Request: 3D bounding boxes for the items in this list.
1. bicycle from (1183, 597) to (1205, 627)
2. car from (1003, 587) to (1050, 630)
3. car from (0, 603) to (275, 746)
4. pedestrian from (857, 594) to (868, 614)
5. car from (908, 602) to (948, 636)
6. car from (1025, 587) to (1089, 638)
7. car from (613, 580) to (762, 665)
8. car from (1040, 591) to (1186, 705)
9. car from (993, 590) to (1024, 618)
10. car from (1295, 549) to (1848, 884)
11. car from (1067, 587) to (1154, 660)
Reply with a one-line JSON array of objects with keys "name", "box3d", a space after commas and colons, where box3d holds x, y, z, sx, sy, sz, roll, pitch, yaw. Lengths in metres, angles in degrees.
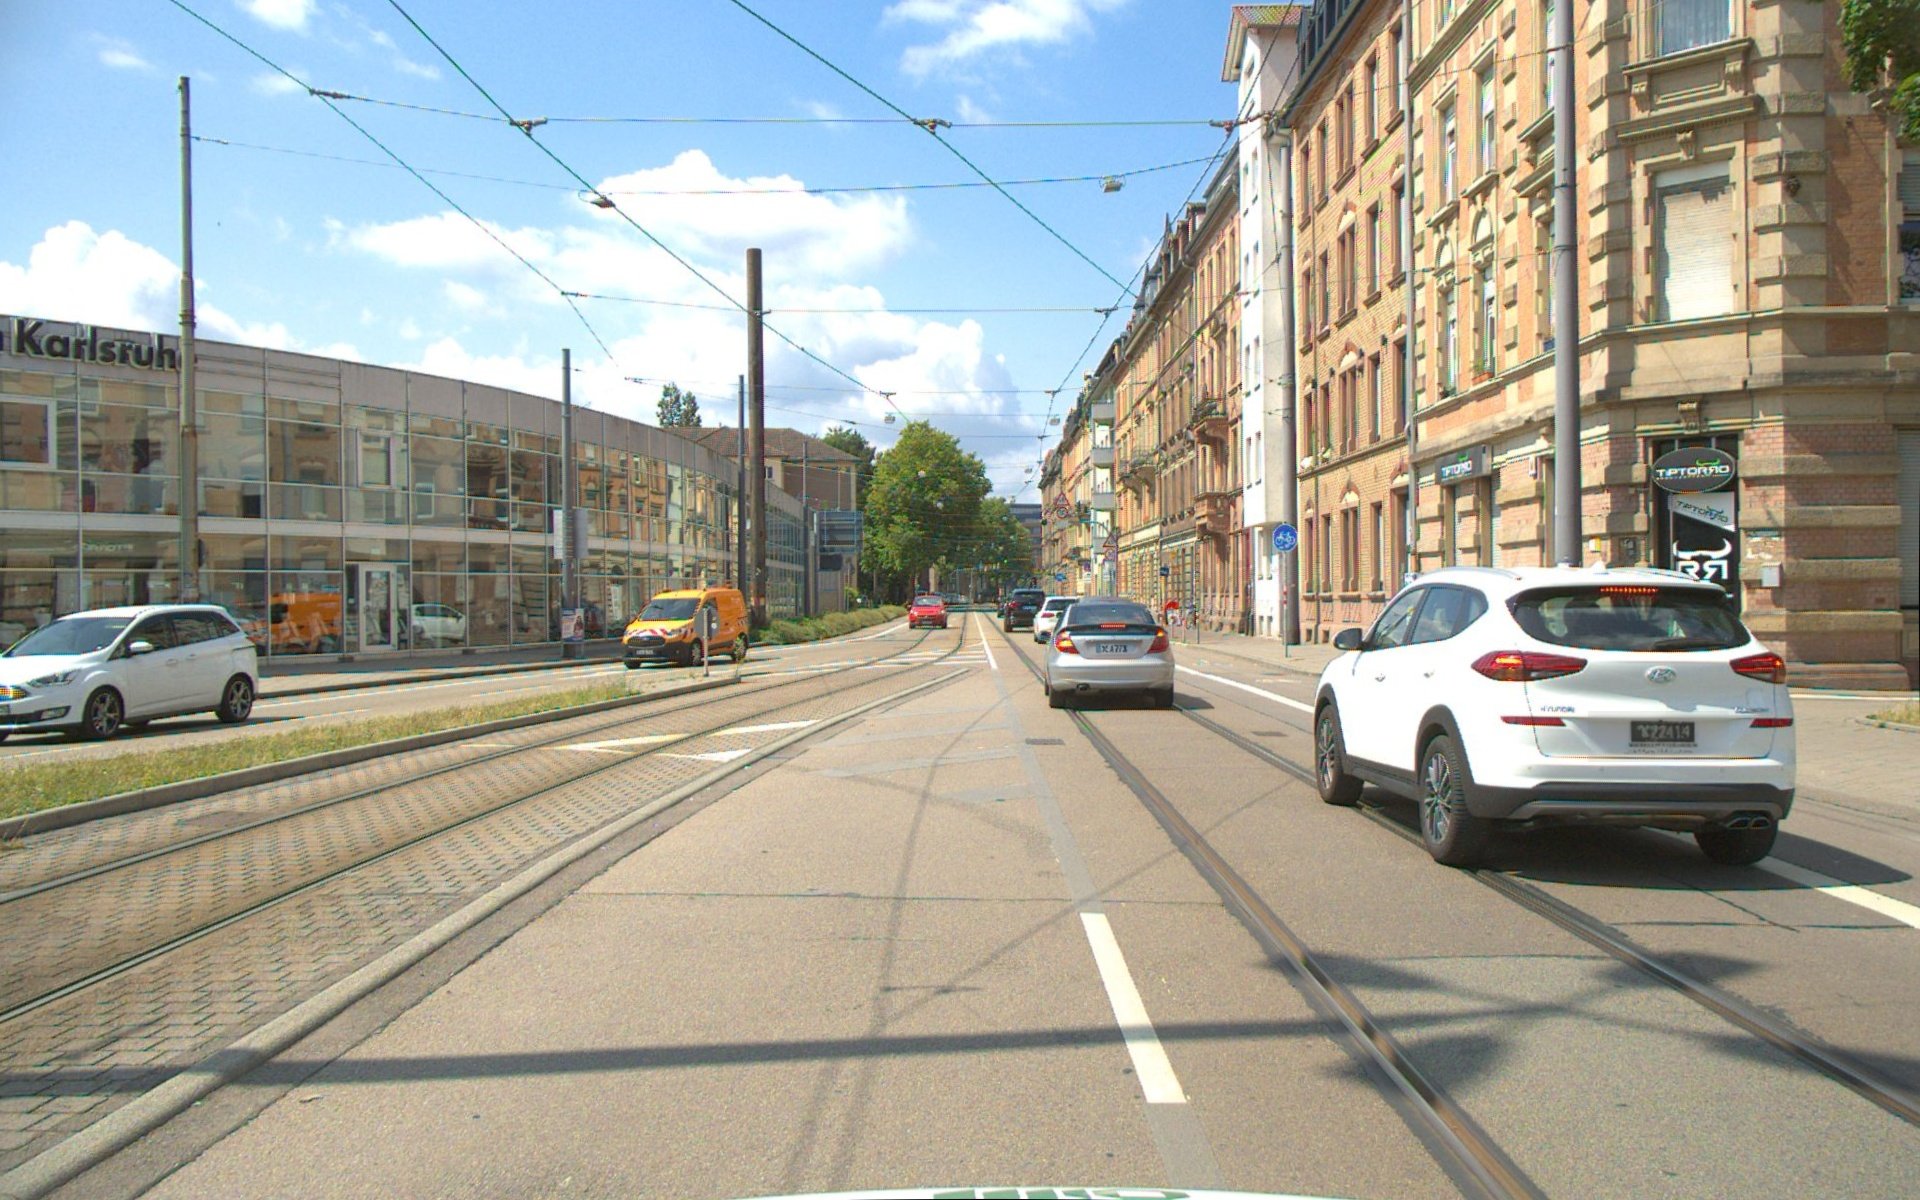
[{"name": "bicycle", "box3d": [9.419, 0.476, 66.620, 0.574, 1.199, 2.205, -1, 0, 1]}, {"name": "car", "box3d": [2.711, 0.370, 68.537, 1.777, 1.691, 4.085, -1, 0, 0]}, {"name": "car", "box3d": [-11.151, 0.899, 21.839, 1.729, 1.632, 4.497, -2, 0, 9]}, {"name": "pedestrian", "box3d": [-9.324, 0.343, 158.264, 0.862, 1.898, 1.081, -2, 0, 1]}, {"name": "car", "box3d": [-1.440, 0.860, 75.611, 1.666, 1.453, 3.902, -1, 0, 1]}, {"name": "car", "box3d": [3.024, 0.371, 52.344, 1.777, 1.551, 3.955, -1, 0, 0]}, {"name": "car", "box3d": [-6.504, 0.495, 39.973, 1.870, 1.898, 4.371, -2, 0, 15]}, {"name": "car", "box3d": [2.073, 0.630, 23.375, 1.777, 1.445, 4.188, -1, 0, 2]}, {"name": "car", "box3d": [3.388, 0.248, 115.888, 1.953, 1.892, 3.999, -1, 0, -1]}, {"name": "car", "box3d": [3.523, 0.576, 10.457, 1.815, 1.662, 4.179, -1, 0, -2]}, {"name": "car", "box3d": [3.407, 0.501, 38.062, 1.777, 1.551, 4.086, -1, 0, 2]}]
